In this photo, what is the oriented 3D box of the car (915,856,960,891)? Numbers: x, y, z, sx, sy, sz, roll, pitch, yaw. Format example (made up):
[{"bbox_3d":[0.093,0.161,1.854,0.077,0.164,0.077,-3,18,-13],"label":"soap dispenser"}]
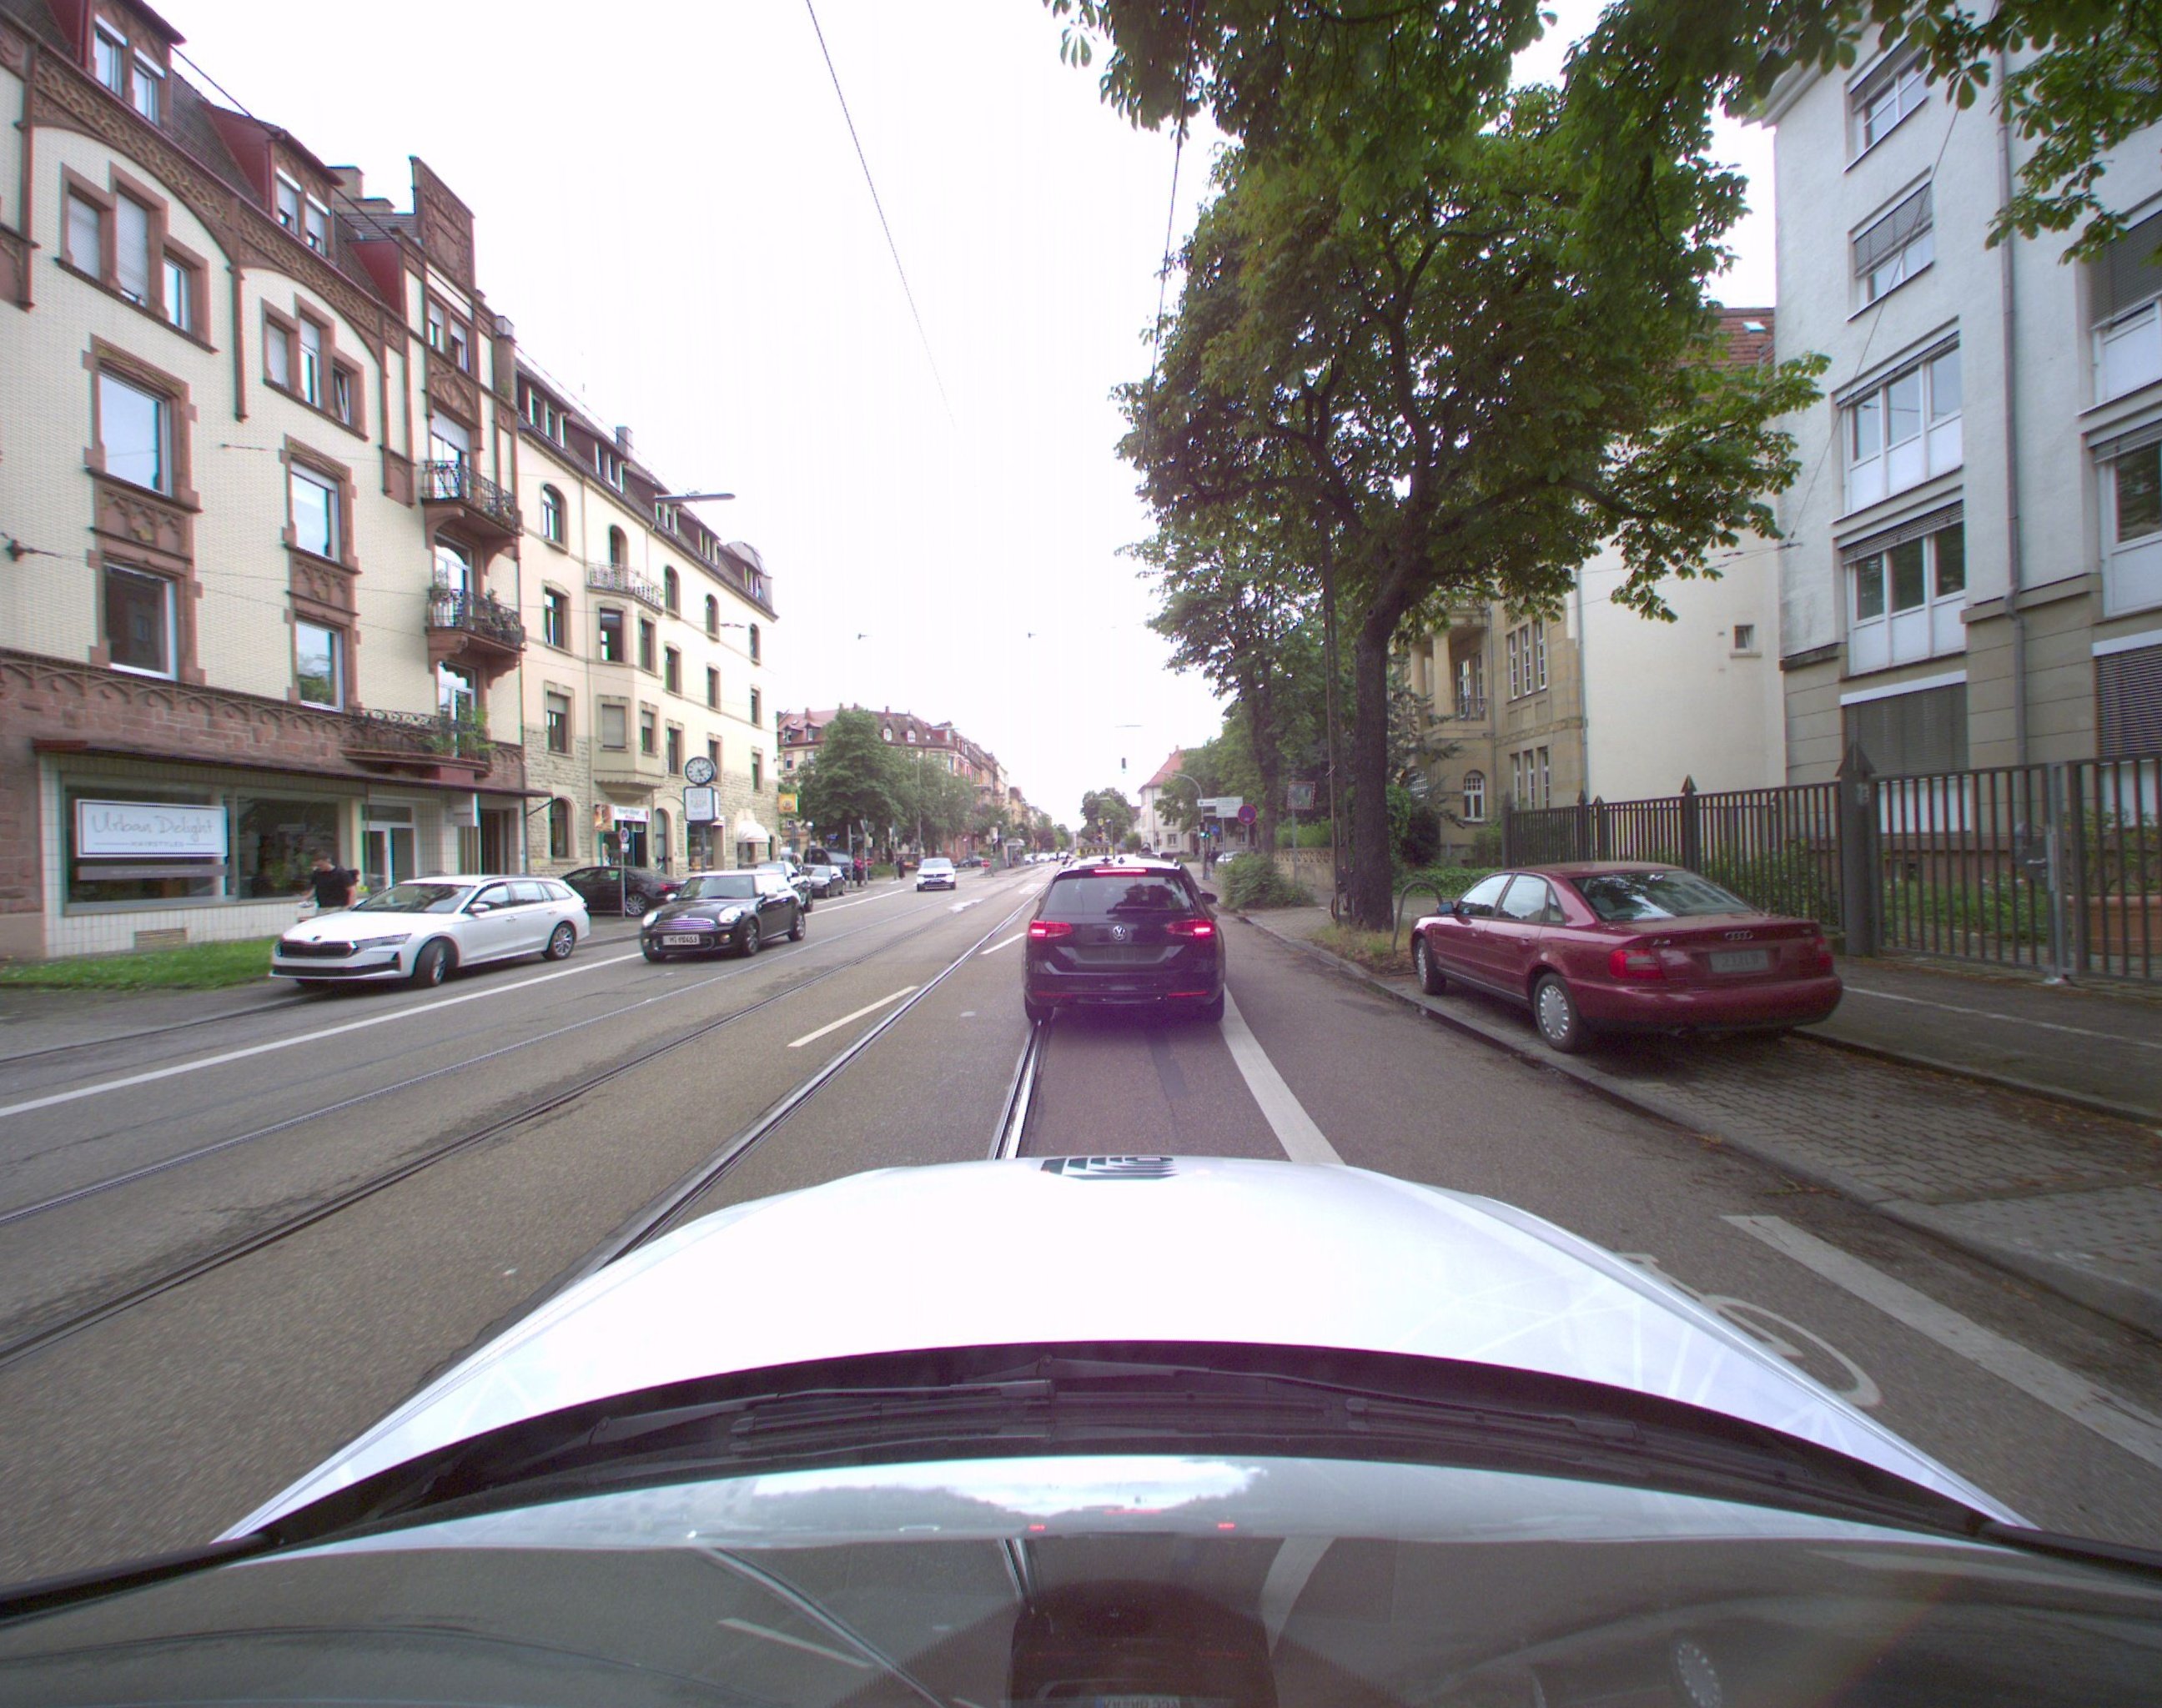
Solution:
[{"bbox_3d":[-6.883,0.881,39.310,1.695,1.496,3.924,-3,0,-5],"label":"car"}]

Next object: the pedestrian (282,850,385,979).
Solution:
[{"bbox_3d":[-11.225,0.875,12.262,0.666,1.844,0.882,-2,0,-1],"label":"pedestrian"}]

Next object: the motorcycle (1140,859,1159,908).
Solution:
[{"bbox_3d":[1.836,0.784,22.092,0.444,1.235,1.909,-2,0,4],"label":"motorcycle"}]

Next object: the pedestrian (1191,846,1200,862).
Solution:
[{"bbox_3d":[11.572,0.005,82.453,0.612,1.553,0.577,-1,0,-39],"label":"pedestrian"}]

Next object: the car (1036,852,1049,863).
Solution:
[{"bbox_3d":[-6.040,0.551,127.043,1.715,1.622,3.863,-2,0,0],"label":"car"}]

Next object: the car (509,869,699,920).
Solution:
[{"bbox_3d":[-13.941,1.161,24.025,4.417,1.370,1.878,1,0,-4],"label":"car"}]

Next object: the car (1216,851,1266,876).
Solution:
[{"bbox_3d":[10.662,0.606,54.034,1.974,1.577,4.025,-1,-1,32],"label":"car"}]

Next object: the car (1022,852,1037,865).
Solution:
[{"bbox_3d":[-7.094,0.627,111.808,1.715,1.622,3.863,-2,0,0],"label":"car"}]

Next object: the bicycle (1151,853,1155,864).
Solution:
[{"bbox_3d":[7.923,0.501,89.141,0.295,1.223,1.433,-2,0,8],"label":"bicycle"}]

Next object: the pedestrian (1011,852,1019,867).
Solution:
[{"bbox_3d":[-6.628,0.565,82.041,0.711,1.520,0.590,-2,0,2],"label":"pedestrian"}]

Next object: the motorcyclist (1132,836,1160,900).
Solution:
[{"bbox_3d":[1.768,0.381,22.125,0.700,1.692,0.805,-2,0,4],"label":"motorcyclist"}]

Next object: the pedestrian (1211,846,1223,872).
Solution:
[{"bbox_3d":[9.642,0.343,57.653,0.518,1.831,0.413,-5,0,-32],"label":"pedestrian"}]

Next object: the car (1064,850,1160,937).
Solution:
[{"bbox_3d":[0.595,0.706,16.843,1.717,1.546,4.000,-1,0,1],"label":"car"}]

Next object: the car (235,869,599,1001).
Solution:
[{"bbox_3d":[-9.657,1.055,12.476,1.742,1.484,4.608,-2,0,0],"label":"car"}]

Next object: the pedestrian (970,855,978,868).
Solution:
[{"bbox_3d":[-12.628,0.886,96.155,0.582,1.520,0.653,-2,0,36],"label":"pedestrian"}]

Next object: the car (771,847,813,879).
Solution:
[{"bbox_3d":[-24.277,0.776,68.237,2.193,2.527,5.326,-2,0,-31],"label":"car"}]

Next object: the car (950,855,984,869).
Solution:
[{"bbox_3d":[-14.644,1.032,104.921,1.974,1.596,4.026,-2,0,38],"label":"car"}]

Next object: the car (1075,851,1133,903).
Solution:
[{"bbox_3d":[0.730,0.681,26.838,1.717,1.546,4.000,-1,0,1],"label":"car"}]

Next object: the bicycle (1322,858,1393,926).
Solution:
[{"bbox_3d":[5.201,0.685,15.263,1.915,1.198,0.428,0,-1,-44],"label":"bicycle"}]

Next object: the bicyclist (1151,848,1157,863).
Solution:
[{"bbox_3d":[7.987,0.177,89.217,0.648,1.568,0.697,-2,0,7],"label":"bicyclist"}]

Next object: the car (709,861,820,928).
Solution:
[{"bbox_3d":[-9.191,1.099,24.112,1.882,1.611,4.874,-4,0,-8],"label":"car"}]

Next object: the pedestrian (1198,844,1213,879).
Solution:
[{"bbox_3d":[6.618,0.401,43.226,0.583,1.831,0.604,-5,0,2],"label":"pedestrian"}]

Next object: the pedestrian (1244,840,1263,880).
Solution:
[{"bbox_3d":[7.922,0.273,37.433,0.630,1.815,0.725,-2,0,-2],"label":"pedestrian"}]

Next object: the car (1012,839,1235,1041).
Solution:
[{"bbox_3d":[0.363,0.665,8.382,1.717,1.546,4.000,-1,0,1],"label":"car"}]

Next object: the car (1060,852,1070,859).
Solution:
[{"bbox_3d":[-3.556,0.340,180.710,1.788,1.596,4.004,-2,0,3],"label":"car"}]

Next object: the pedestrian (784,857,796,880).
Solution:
[{"bbox_3d":[-22.346,1.121,62.488,0.703,1.715,0.546,-2,0,-40],"label":"pedestrian"}]

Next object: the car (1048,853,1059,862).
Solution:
[{"bbox_3d":[-4.793,0.542,143.592,1.715,1.464,3.863,-2,0,0],"label":"car"}]

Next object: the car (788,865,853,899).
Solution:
[{"bbox_3d":[-11.589,1.228,36.461,1.644,1.361,4.127,1,0,-2],"label":"car"}]

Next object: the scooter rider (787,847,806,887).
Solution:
[{"bbox_3d":[-14.276,0.644,40.880,0.640,2.013,0.757,-2,0,-1],"label":"scooter rider"}]

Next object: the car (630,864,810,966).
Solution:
[{"bbox_3d":[-6.083,0.950,14.162,1.604,1.422,3.483,-3,0,-2],"label":"car"}]

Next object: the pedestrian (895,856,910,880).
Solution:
[{"bbox_3d":[-12.793,0.989,58.324,0.833,1.663,0.591,-2,0,2],"label":"pedestrian"}]

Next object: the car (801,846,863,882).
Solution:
[{"bbox_3d":[-18.193,0.738,59.309,2.198,2.417,5.315,-2,0,-42],"label":"car"}]

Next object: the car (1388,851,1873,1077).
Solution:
[{"bbox_3d":[4.436,0.719,7.504,1.596,1.399,4.228,-4,0,1],"label":"car"}]

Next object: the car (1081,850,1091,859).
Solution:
[{"bbox_3d":[1.055,0.148,174.542,2.026,2.014,4.000,-1,0,1],"label":"car"}]

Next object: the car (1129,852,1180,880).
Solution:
[{"bbox_3d":[4.289,0.660,47.015,1.876,1.408,4.020,-2,0,20],"label":"car"}]

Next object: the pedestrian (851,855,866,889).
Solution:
[{"bbox_3d":[-12.368,1.001,45.288,0.621,1.842,0.609,-2,0,-2],"label":"pedestrian"}]
